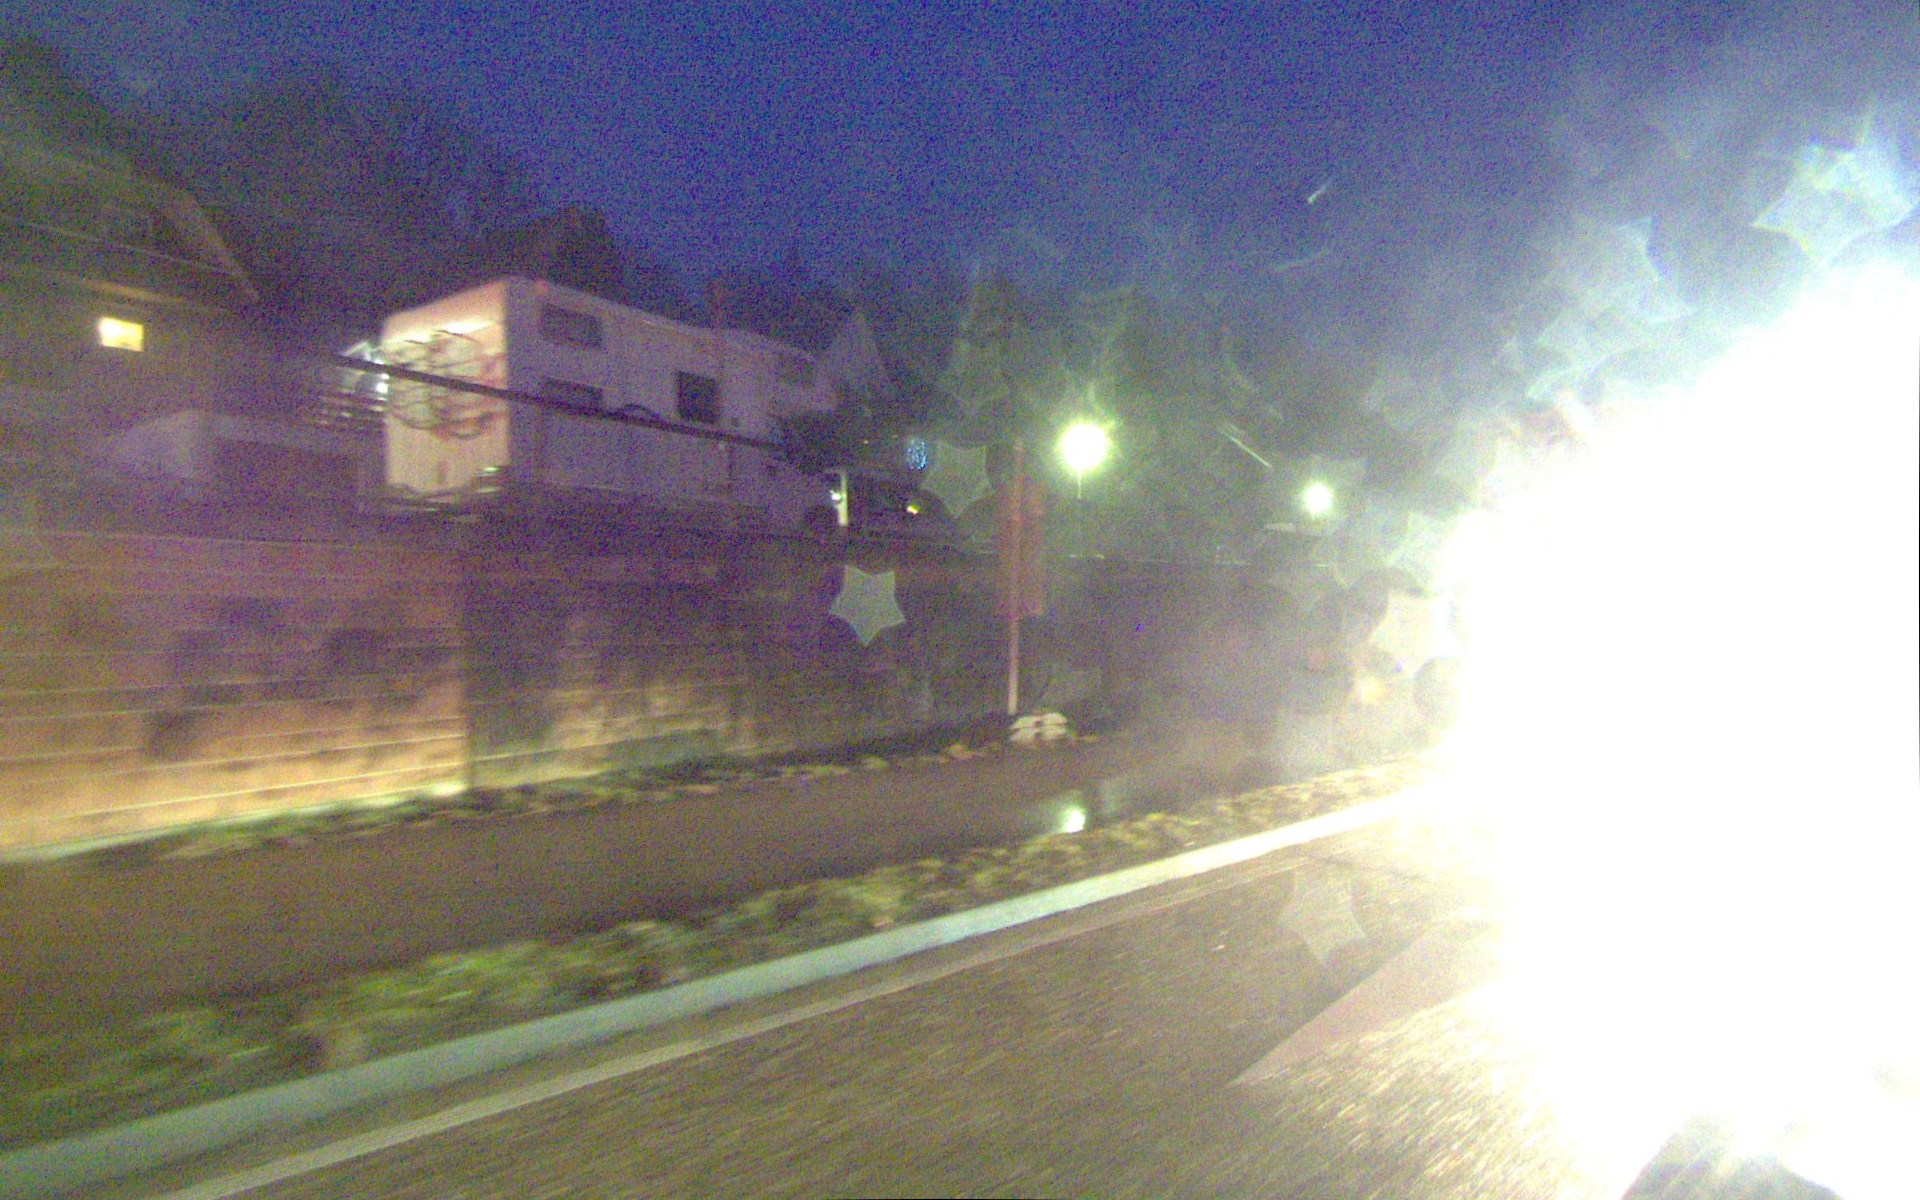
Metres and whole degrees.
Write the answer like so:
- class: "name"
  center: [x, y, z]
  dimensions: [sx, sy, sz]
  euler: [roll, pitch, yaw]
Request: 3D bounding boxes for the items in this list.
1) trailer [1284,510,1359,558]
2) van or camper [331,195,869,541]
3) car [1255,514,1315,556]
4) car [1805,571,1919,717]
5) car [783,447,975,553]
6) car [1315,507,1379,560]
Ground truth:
- class: "trailer"
  center: [18.339, -3.271, 51.172]
  dimensions: [2.218, 2.097, 5.650]
  euler: [2, 1, 34]
- class: "van or camper"
  center: [-4.020, -2.361, 12.858]
  dimensions: [2.567, 2.944, 6.292]
  euler: [2, 1, 30]
- class: "car"
  center: [14.394, -2.813, 44.772]
  dimensions: [1.606, 1.660, 3.954]
  euler: [1, 1, 32]
- class: "car"
  center: [13.614, 0.563, 14.494]
  dimensions: [4.630, 1.841, 1.757]
  euler: [1, 0, -43]
- class: "car"
  center: [-1.434, -1.824, 19.574]
  dimensions: [1.628, 1.638, 4.088]
  euler: [1, 0, 31]
- class: "car"
  center: [21.396, -3.582, 55.782]
  dimensions: [2.107, 2.668, 5.384]
  euler: [2, 1, 34]
